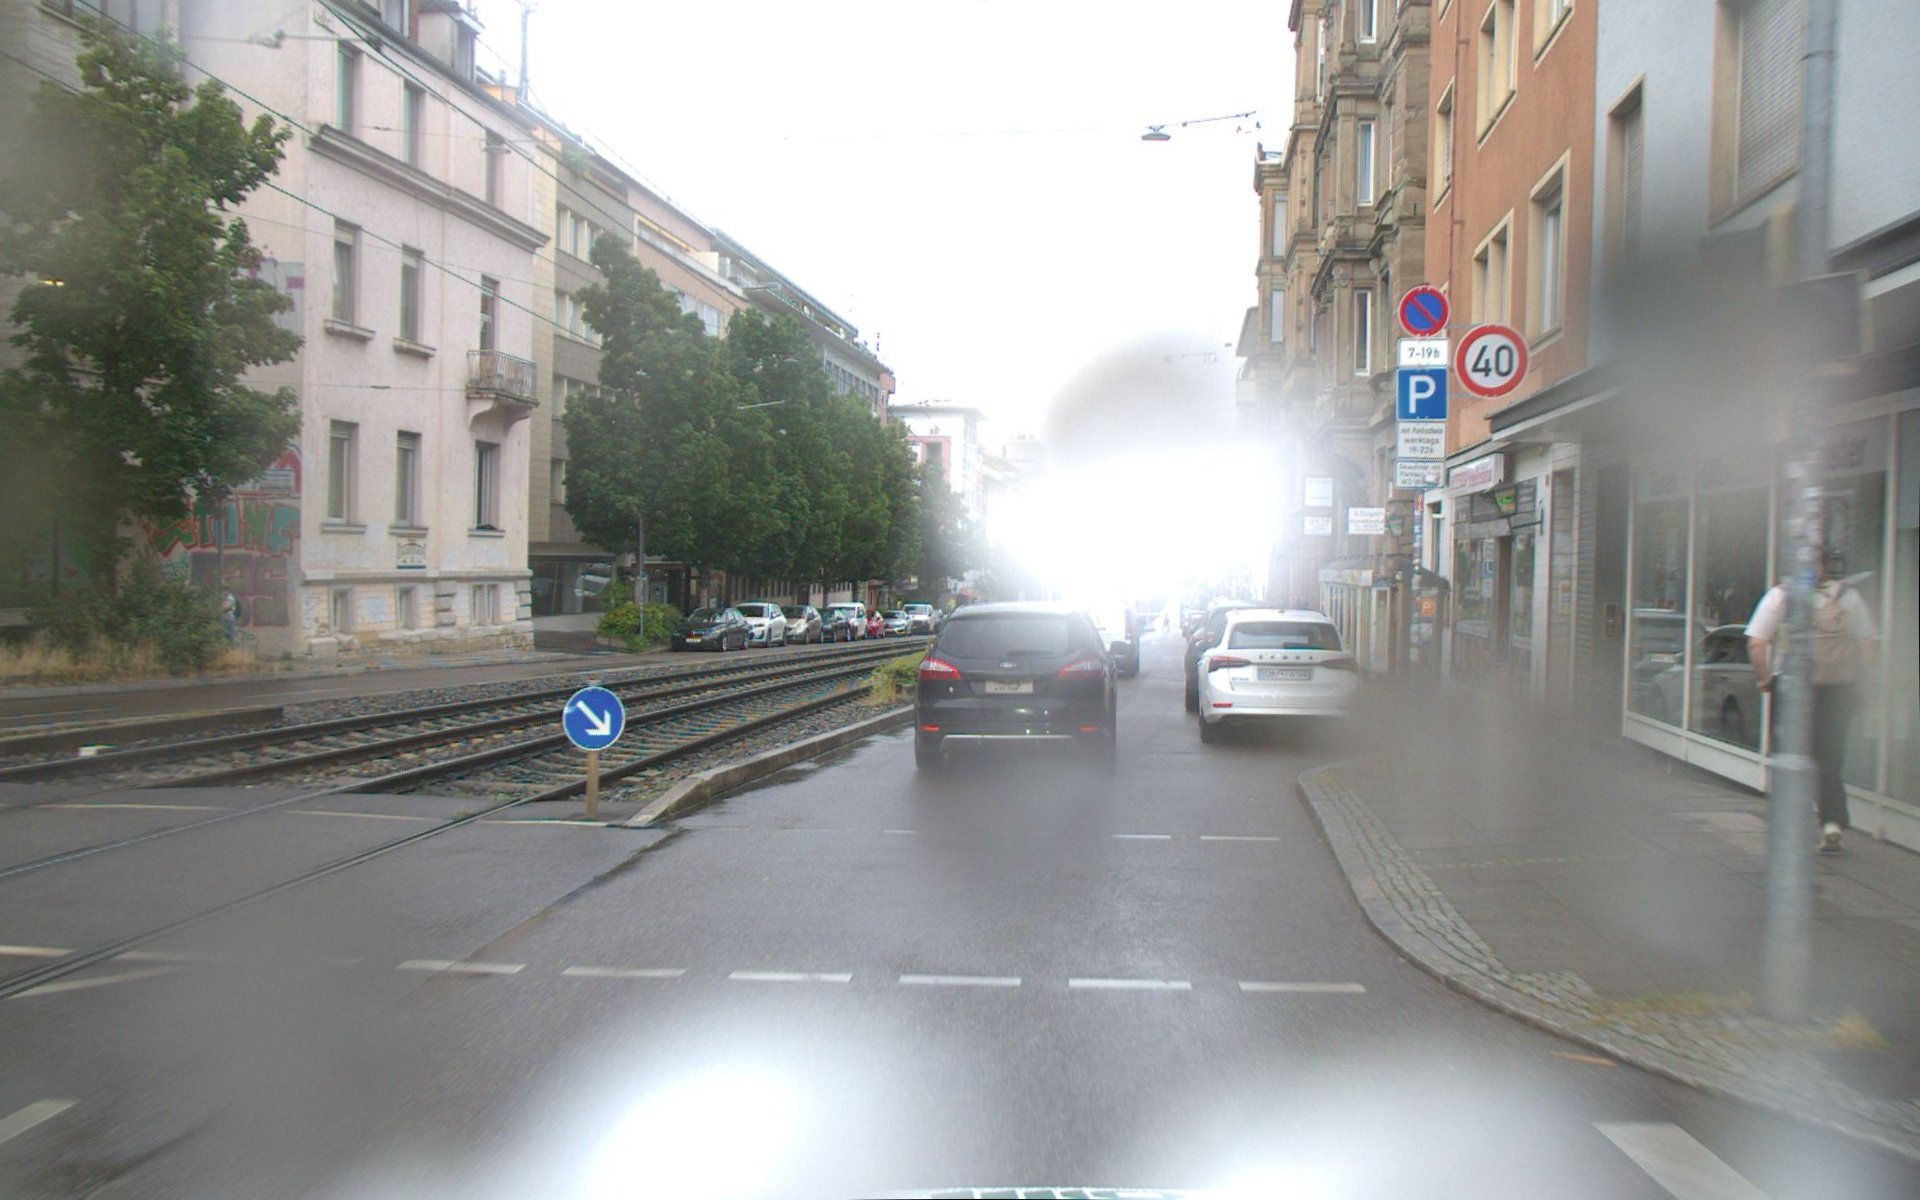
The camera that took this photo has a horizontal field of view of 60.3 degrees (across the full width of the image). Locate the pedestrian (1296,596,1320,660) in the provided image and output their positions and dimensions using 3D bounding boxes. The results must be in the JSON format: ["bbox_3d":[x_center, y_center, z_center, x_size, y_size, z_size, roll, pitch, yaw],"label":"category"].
[{"bbox_3d":[8.925,0.725,42.409,0.508,1.607,0.678,-1,-2,8],"label":"pedestrian"}]

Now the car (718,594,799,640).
[{"bbox_3d":[-7.563,0.685,62.425,1.816,1.576,4.724,2,-1,8],"label":"car"}]

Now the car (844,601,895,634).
[{"bbox_3d":[-4.673,0.930,85.747,1.816,1.553,4.049,2,-1,8],"label":"car"}]

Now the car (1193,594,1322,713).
[{"bbox_3d":[4.600,0.826,26.082,1.806,1.661,4.589,1,-1,8],"label":"car"}]

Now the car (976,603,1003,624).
[{"bbox_3d":[2.526,1.202,142.080,1.816,1.665,4.049,2,-1,8],"label":"car"}]

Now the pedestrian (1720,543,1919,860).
[{"bbox_3d":[4.563,0.523,8.783,0.674,1.600,0.762,1,-2,-4],"label":"pedestrian"}]

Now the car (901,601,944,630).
[{"bbox_3d":[-2.277,0.975,102.017,1.816,1.665,4.938,2,-1,8],"label":"car"}]

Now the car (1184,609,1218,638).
[{"bbox_3d":[12.391,1.221,85.156,1.635,1.446,3.479,1,-1,7],"label":"car"}]

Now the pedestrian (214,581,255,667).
[{"bbox_3d":[-14.483,0.483,33.016,0.458,1.681,0.581,4,-2,-4],"label":"pedestrian"}]

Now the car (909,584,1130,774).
[{"bbox_3d":[0.685,0.674,15.621,1.803,1.533,4.002,1,-1,6],"label":"car"}]

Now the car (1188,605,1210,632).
[{"bbox_3d":[17.845,1.385,123.576,1.558,1.812,3.781,3,-2,8],"label":"car"}]

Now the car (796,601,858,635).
[{"bbox_3d":[-5.894,0.835,73.814,1.816,1.443,4.434,-1,-2,8],"label":"car"}]

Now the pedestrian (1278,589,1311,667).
[{"bbox_3d":[8.100,0.677,40.084,0.688,1.851,0.962,-1,1,8],"label":"pedestrian"}]

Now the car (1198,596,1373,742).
[{"bbox_3d":[3.668,0.761,19.275,1.763,1.481,4.589,0,-1,8],"label":"car"}]

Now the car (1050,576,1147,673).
[{"bbox_3d":[3.327,0.529,38.927,1.946,2.096,4.649,1,0,9],"label":"car"}]

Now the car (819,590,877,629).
[{"bbox_3d":[-5.365,0.491,79.769,1.816,1.731,4.434,2,-1,8],"label":"car"}]

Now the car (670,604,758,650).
[{"bbox_3d":[-8.307,0.946,56.234,1.657,1.402,4.724,2,-2,8],"label":"car"}]

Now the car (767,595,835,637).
[{"bbox_3d":[-6.570,0.688,68.803,1.816,1.576,4.434,2,-1,8],"label":"car"}]

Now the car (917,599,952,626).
[{"bbox_3d":[-1.679,0.844,108.658,1.659,1.601,4.049,2,-1,8],"label":"car"}]

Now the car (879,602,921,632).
[{"bbox_3d":[-3.343,0.971,92.628,1.632,1.585,4.049,2,-1,8],"label":"car"}]
